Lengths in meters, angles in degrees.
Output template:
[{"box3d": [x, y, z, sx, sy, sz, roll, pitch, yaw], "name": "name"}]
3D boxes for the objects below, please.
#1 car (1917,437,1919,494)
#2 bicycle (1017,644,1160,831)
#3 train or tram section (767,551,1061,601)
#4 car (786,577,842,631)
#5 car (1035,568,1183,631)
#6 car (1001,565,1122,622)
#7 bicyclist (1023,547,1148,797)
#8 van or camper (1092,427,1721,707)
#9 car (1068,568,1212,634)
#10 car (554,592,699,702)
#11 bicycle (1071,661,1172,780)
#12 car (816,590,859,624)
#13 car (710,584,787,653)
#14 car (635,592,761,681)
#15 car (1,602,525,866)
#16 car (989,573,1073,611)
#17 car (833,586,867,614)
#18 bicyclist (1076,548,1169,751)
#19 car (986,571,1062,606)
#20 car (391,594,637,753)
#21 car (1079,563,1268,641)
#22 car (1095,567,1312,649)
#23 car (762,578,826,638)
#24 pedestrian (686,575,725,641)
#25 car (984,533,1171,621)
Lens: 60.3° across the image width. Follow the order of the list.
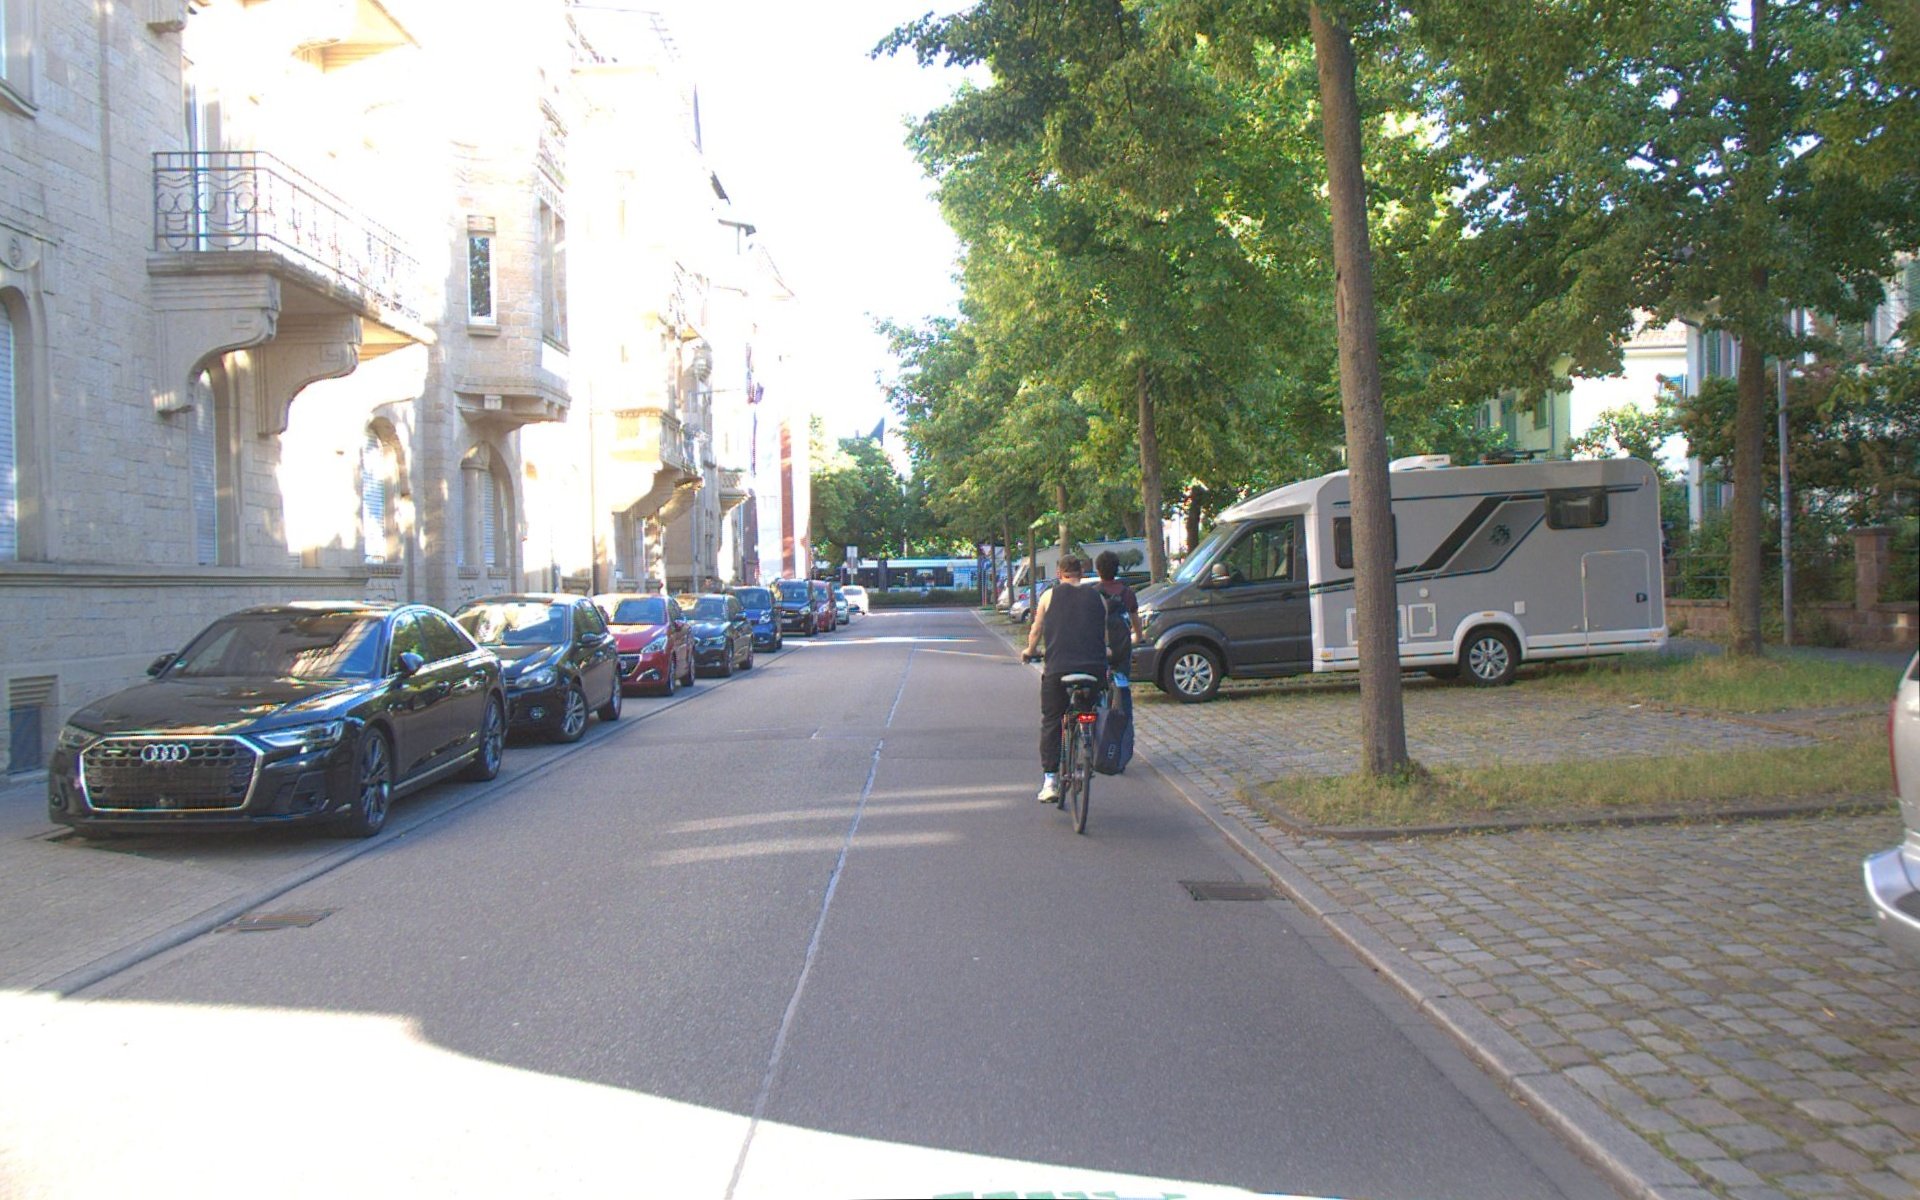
[{"box3d": [5.148, 0.257, 4.010, 4.525, 1.739, 1.833, -4, 1, 0], "name": "car"}, {"box3d": [0.808, 0.855, 10.921, 0.722, 1.072, 1.955, 0, 0, -2], "name": "bicycle"}, {"box3d": [-3.401, -1.820, 131.289, 23.486, 3.773, 4.255, 0, 0, -24], "name": "train or tram section"}, {"box3d": [-5.288, 0.095, 60.390, 1.654, 1.857, 4.273, 1, 1, 0], "name": "car"}, {"box3d": [4.221, -0.004, 47.294, 4.053, 1.627, 1.702, -2, -1, 1], "name": "car"}, {"box3d": [3.564, -0.234, 58.351, 4.002, 1.678, 1.640, -5, 0, -3], "name": "car"}, {"box3d": [0.812, 0.455, 10.908, 0.715, 1.575, 0.884, 0, 0, -2], "name": "bicyclist"}, {"box3d": [5.300, -0.399, 20.541, 7.001, 2.692, 2.465, -5, 1, 1], "name": "van or camper"}, {"box3d": [4.840, 0.033, 44.881, 3.695, 1.627, 1.691, -2, -1, 1], "name": "car"}, {"box3d": [-4.928, 0.642, 24.890, 1.596, 1.478, 3.835, 0, 1, -3], "name": "car"}, {"box3d": [1.322, 0.974, 13.827, 0.620, 0.813, 1.832, -2, 1, -1], "name": "bicycle"}, {"box3d": [-5.215, 0.280, 70.903, 1.551, 1.367, 4.131, 1, 1, 0], "name": "car"}, {"box3d": [-5.094, 0.421, 40.089, 1.563, 1.515, 2.735, 2, 1, -2], "name": "car"}, {"box3d": [-4.830, 0.621, 31.038, 1.641, 1.455, 4.550, 1, 1, 0], "name": "car"}, {"box3d": [-4.630, 0.773, 11.920, 1.774, 1.451, 4.897, 1, 0, -1], "name": "car"}, {"box3d": [3.418, -0.393, 80.029, 3.907, 1.835, 1.833, 0, 0, -3], "name": "car"}, {"box3d": [-5.910, -0.034, 88.862, 1.551, 1.399, 4.131, 1, 1, 0], "name": "car"}, {"box3d": [1.361, 0.397, 13.987, 0.675, 1.655, 0.998, 0, 0, -1], "name": "bicyclist"}, {"box3d": [3.364, -0.590, 87.915, 3.907, 1.835, 1.833, 0, 0, -3], "name": "car"}, {"box3d": [-4.646, 0.702, 17.785, 1.662, 1.479, 4.026, -1, 0, -2], "name": "car"}, {"box3d": [4.899, 0.060, 38.345, 4.136, 1.627, 1.691, -2, -1, 1], "name": "car"}, {"box3d": [4.792, 0.141, 32.848, 3.953, 1.479, 1.689, -2, 0, -5], "name": "car"}, {"box3d": [-5.311, 0.213, 53.316, 1.607, 1.814, 4.354, 1, 1, 0], "name": "car"}, {"box3d": [-6.802, 0.211, 44.248, 0.919, 1.773, 0.735, 0, 0, -1], "name": "pedestrian"}, {"box3d": [4.614, -0.918, 65.746, 7.006, 3.030, 2.463, -3, 0, -4], "name": "car"}]
